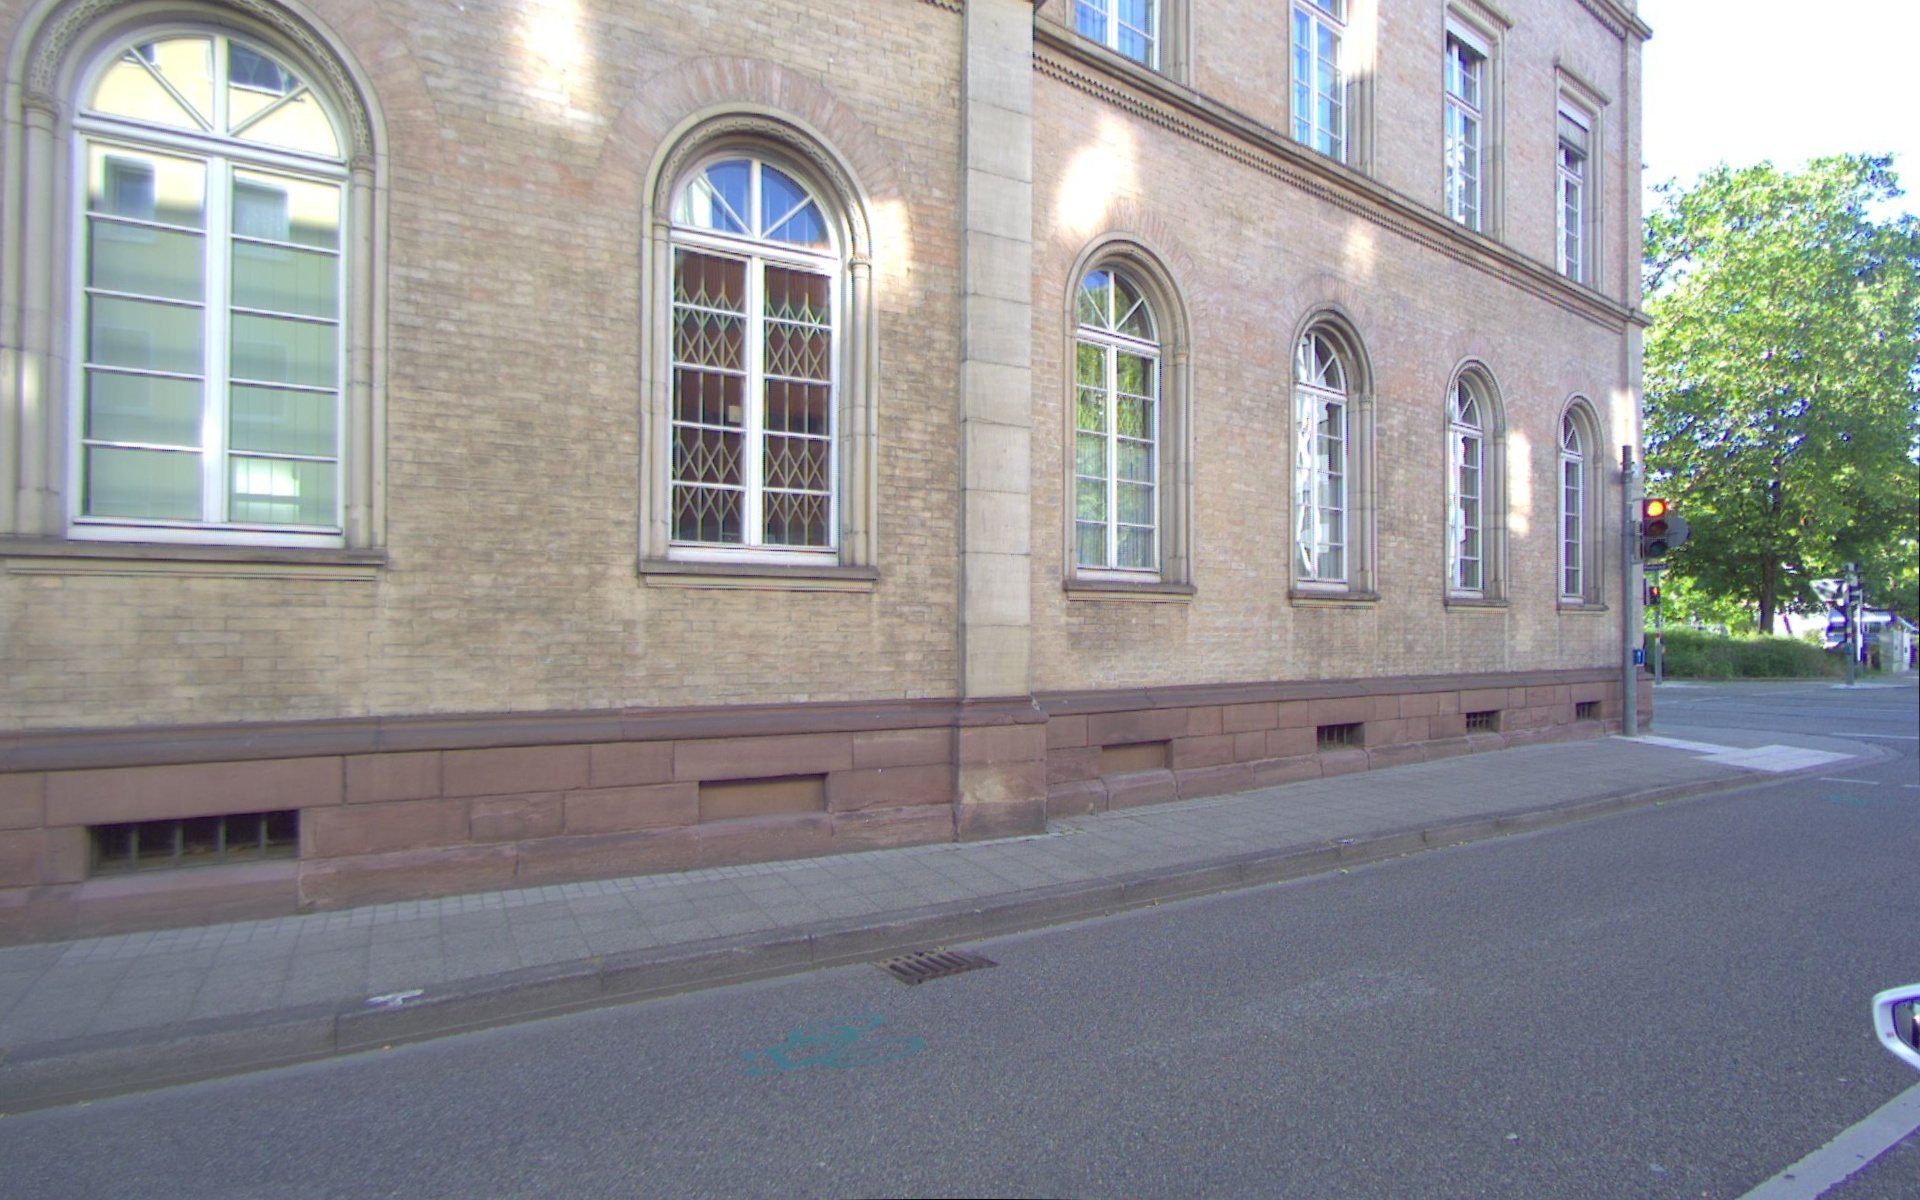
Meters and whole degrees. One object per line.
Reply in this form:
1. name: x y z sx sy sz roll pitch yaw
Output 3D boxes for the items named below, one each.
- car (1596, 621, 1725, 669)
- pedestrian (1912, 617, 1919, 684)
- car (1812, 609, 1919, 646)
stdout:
1. car: 24.364 1.523 35.015 1.636 1.476 3.382 2 0 -39
2. pedestrian: 27.631 1.451 28.449 0.903 1.893 0.739 2 0 42
3. car: 53.485 1.610 59.377 1.983 2.040 4.409 2 0 -38
